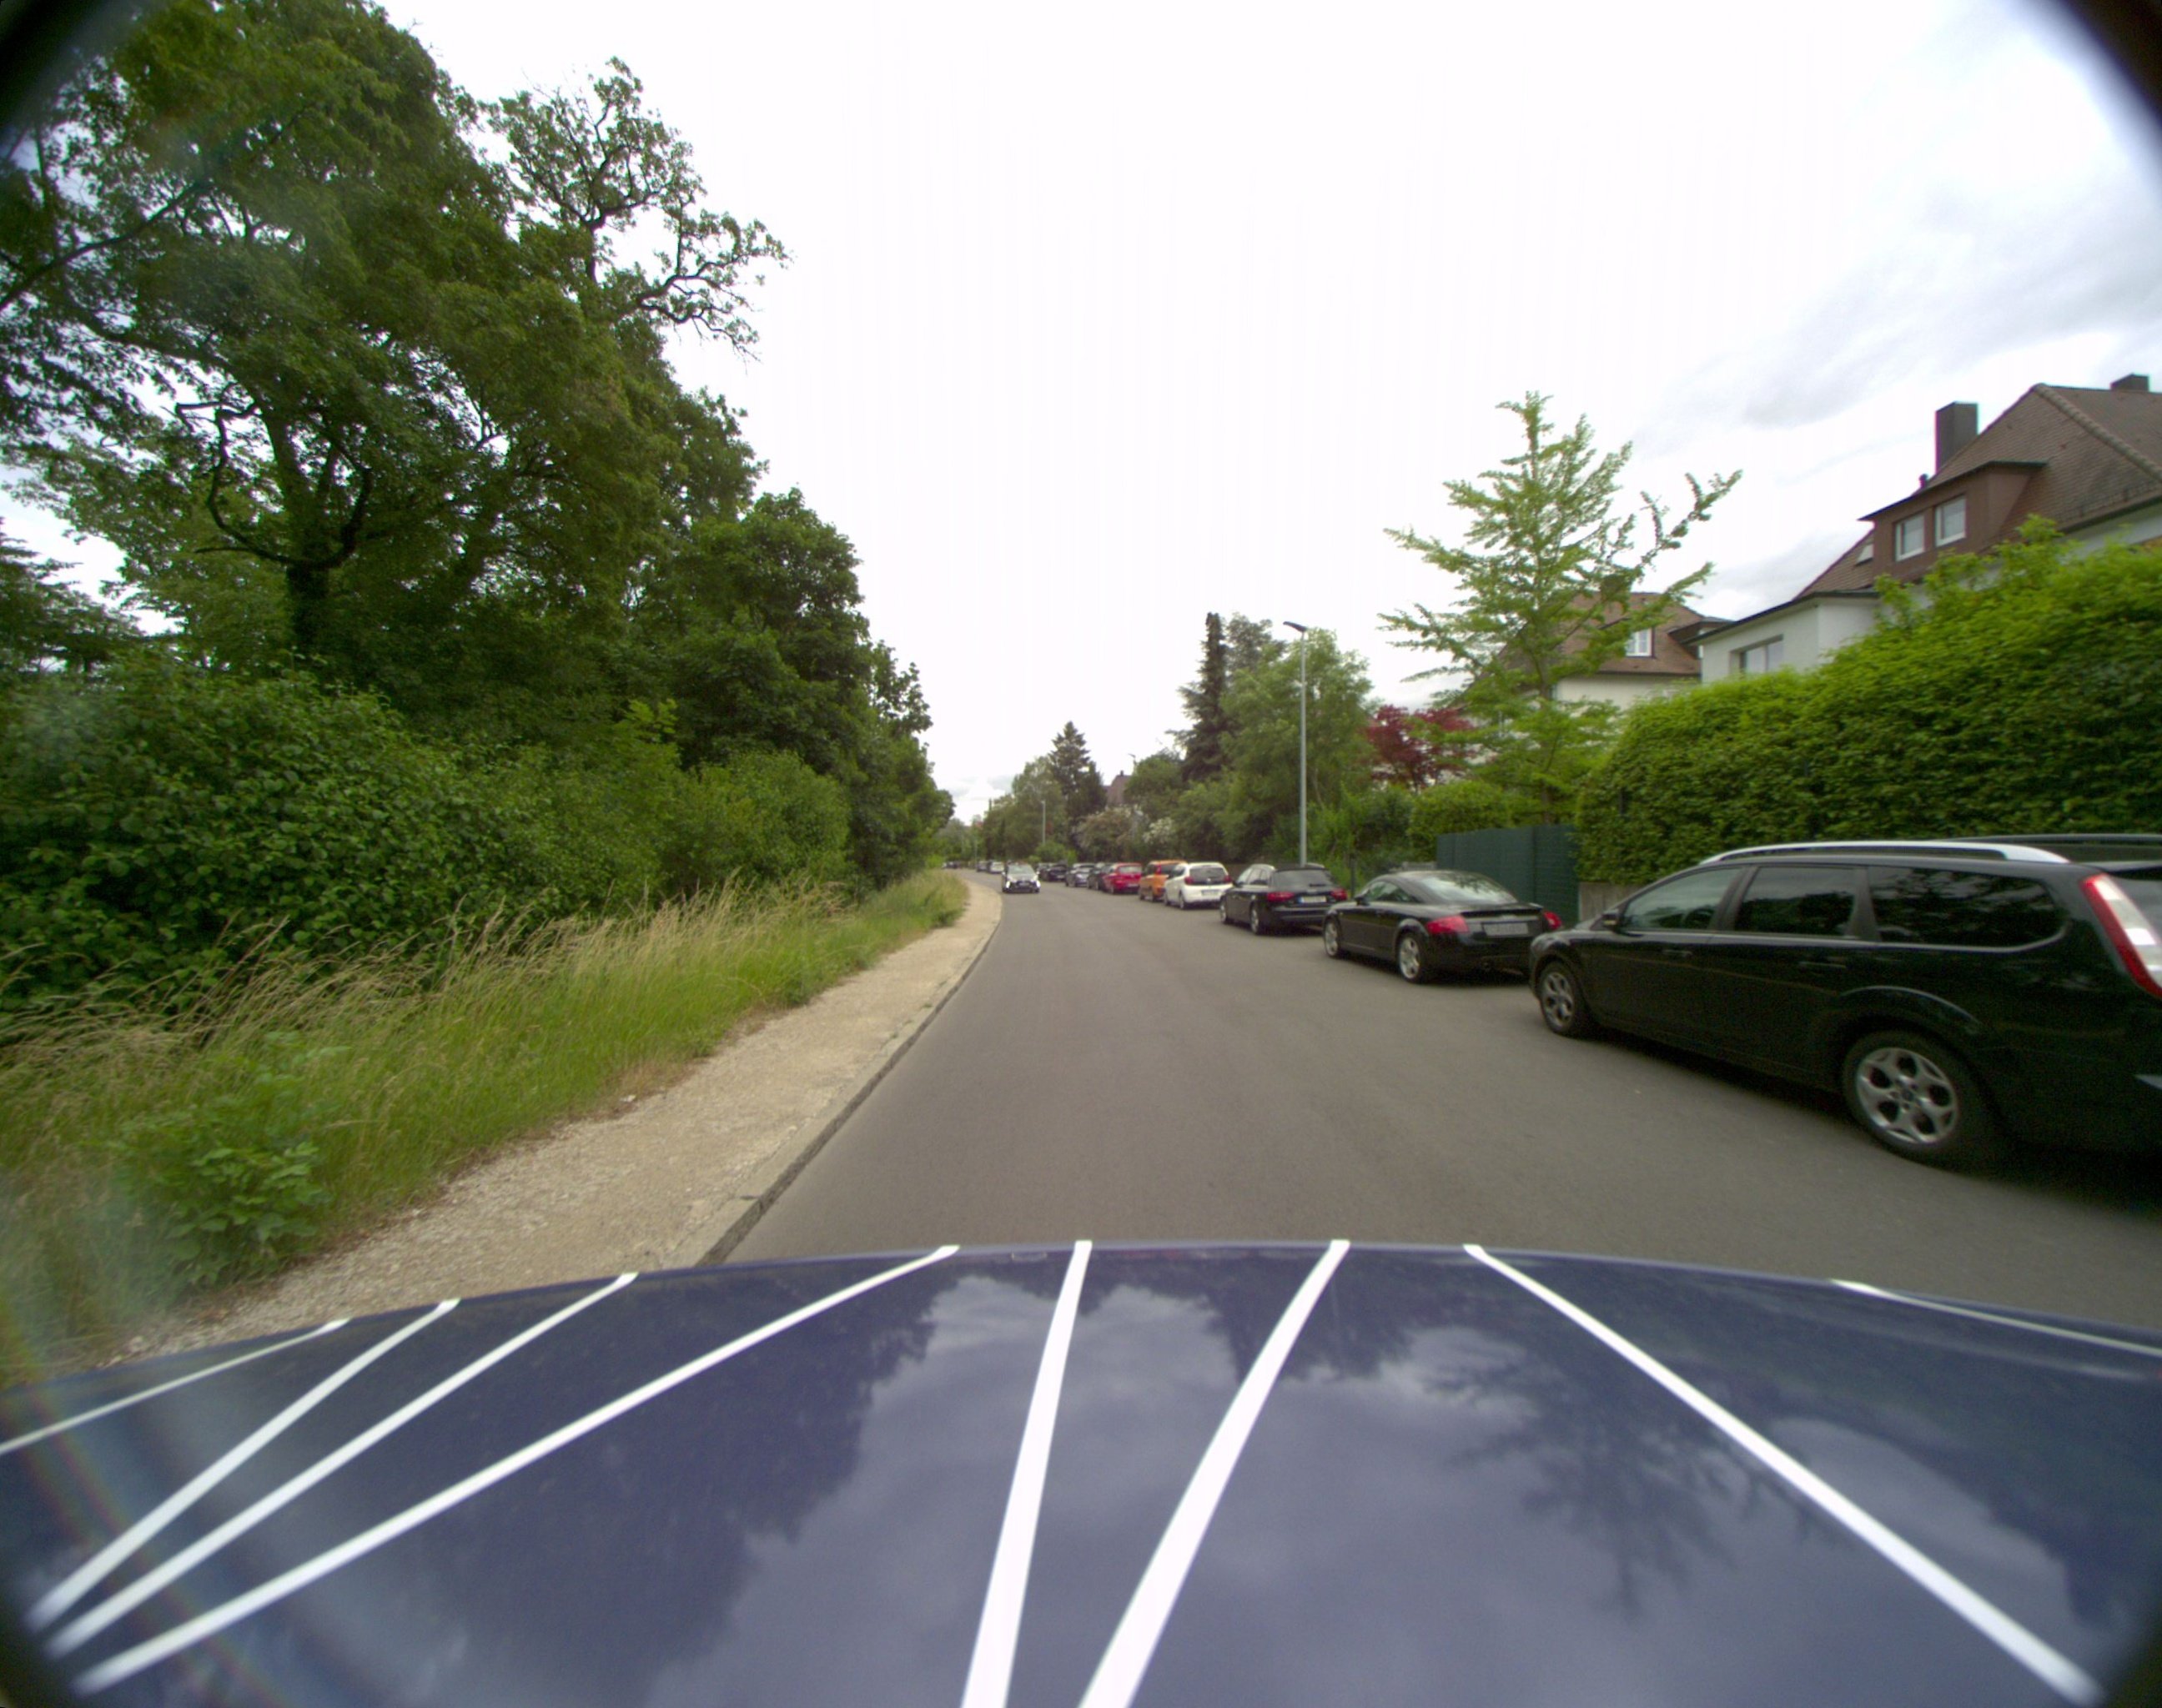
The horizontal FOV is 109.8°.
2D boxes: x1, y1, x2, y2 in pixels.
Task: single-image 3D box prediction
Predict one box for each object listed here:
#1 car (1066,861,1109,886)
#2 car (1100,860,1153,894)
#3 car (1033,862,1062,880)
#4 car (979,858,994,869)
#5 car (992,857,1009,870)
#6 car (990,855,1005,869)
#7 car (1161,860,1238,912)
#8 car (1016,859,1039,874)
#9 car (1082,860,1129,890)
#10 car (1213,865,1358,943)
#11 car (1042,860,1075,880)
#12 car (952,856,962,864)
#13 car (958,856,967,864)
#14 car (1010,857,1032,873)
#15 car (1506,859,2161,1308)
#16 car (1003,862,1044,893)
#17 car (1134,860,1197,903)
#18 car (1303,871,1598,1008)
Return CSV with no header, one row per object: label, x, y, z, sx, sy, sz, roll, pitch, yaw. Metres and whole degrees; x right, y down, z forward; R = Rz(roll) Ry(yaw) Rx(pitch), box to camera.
car,0.355,1.126,46.187,1.713,1.402,4.156,-1,0,-12
car,2.132,1.080,36.797,1.712,1.505,4.360,-1,0,-7
car,-2.815,1.389,63.306,1.713,1.408,4.145,-1,0,-12
car,-14.403,1.357,115.600,1.802,1.598,4.725,-1,0,-12
car,-10.335,1.194,97.268,1.713,1.502,4.550,-1,0,-10
car,-11.366,1.085,103.097,1.713,1.789,4.293,-1,0,-11
car,3.715,0.960,24.378,1.593,1.505,3.588,-1,0,-5
car,-5.522,1.252,78.207,1.713,1.502,3.941,-1,0,-12
car,1.302,1.121,41.814,1.712,1.505,4.491,-1,0,-9
car,4.250,0.972,16.587,1.723,1.376,4.662,-1,0,-2
car,-1.761,1.199,58.433,1.713,1.408,4.127,-1,0,-12
car,-28.761,1.430,176.040,1.925,1.670,4.189,-1,0,-16
car,-25.845,1.258,165.643,1.924,1.670,4.191,-1,0,-11
car,-6.600,1.209,82.712,1.798,1.654,4.387,-1,0,-12
car,4.665,0.829,4.624,1.660,1.524,4.474,-2,0,1
car,-3.057,1.163,39.561,1.712,1.466,4.191,-1,0,-10
car,3.156,0.985,29.065,1.548,1.505,3.641,-1,0,-7
car,4.605,0.966,10.255,1.716,1.333,4.106,-2,0,-4
